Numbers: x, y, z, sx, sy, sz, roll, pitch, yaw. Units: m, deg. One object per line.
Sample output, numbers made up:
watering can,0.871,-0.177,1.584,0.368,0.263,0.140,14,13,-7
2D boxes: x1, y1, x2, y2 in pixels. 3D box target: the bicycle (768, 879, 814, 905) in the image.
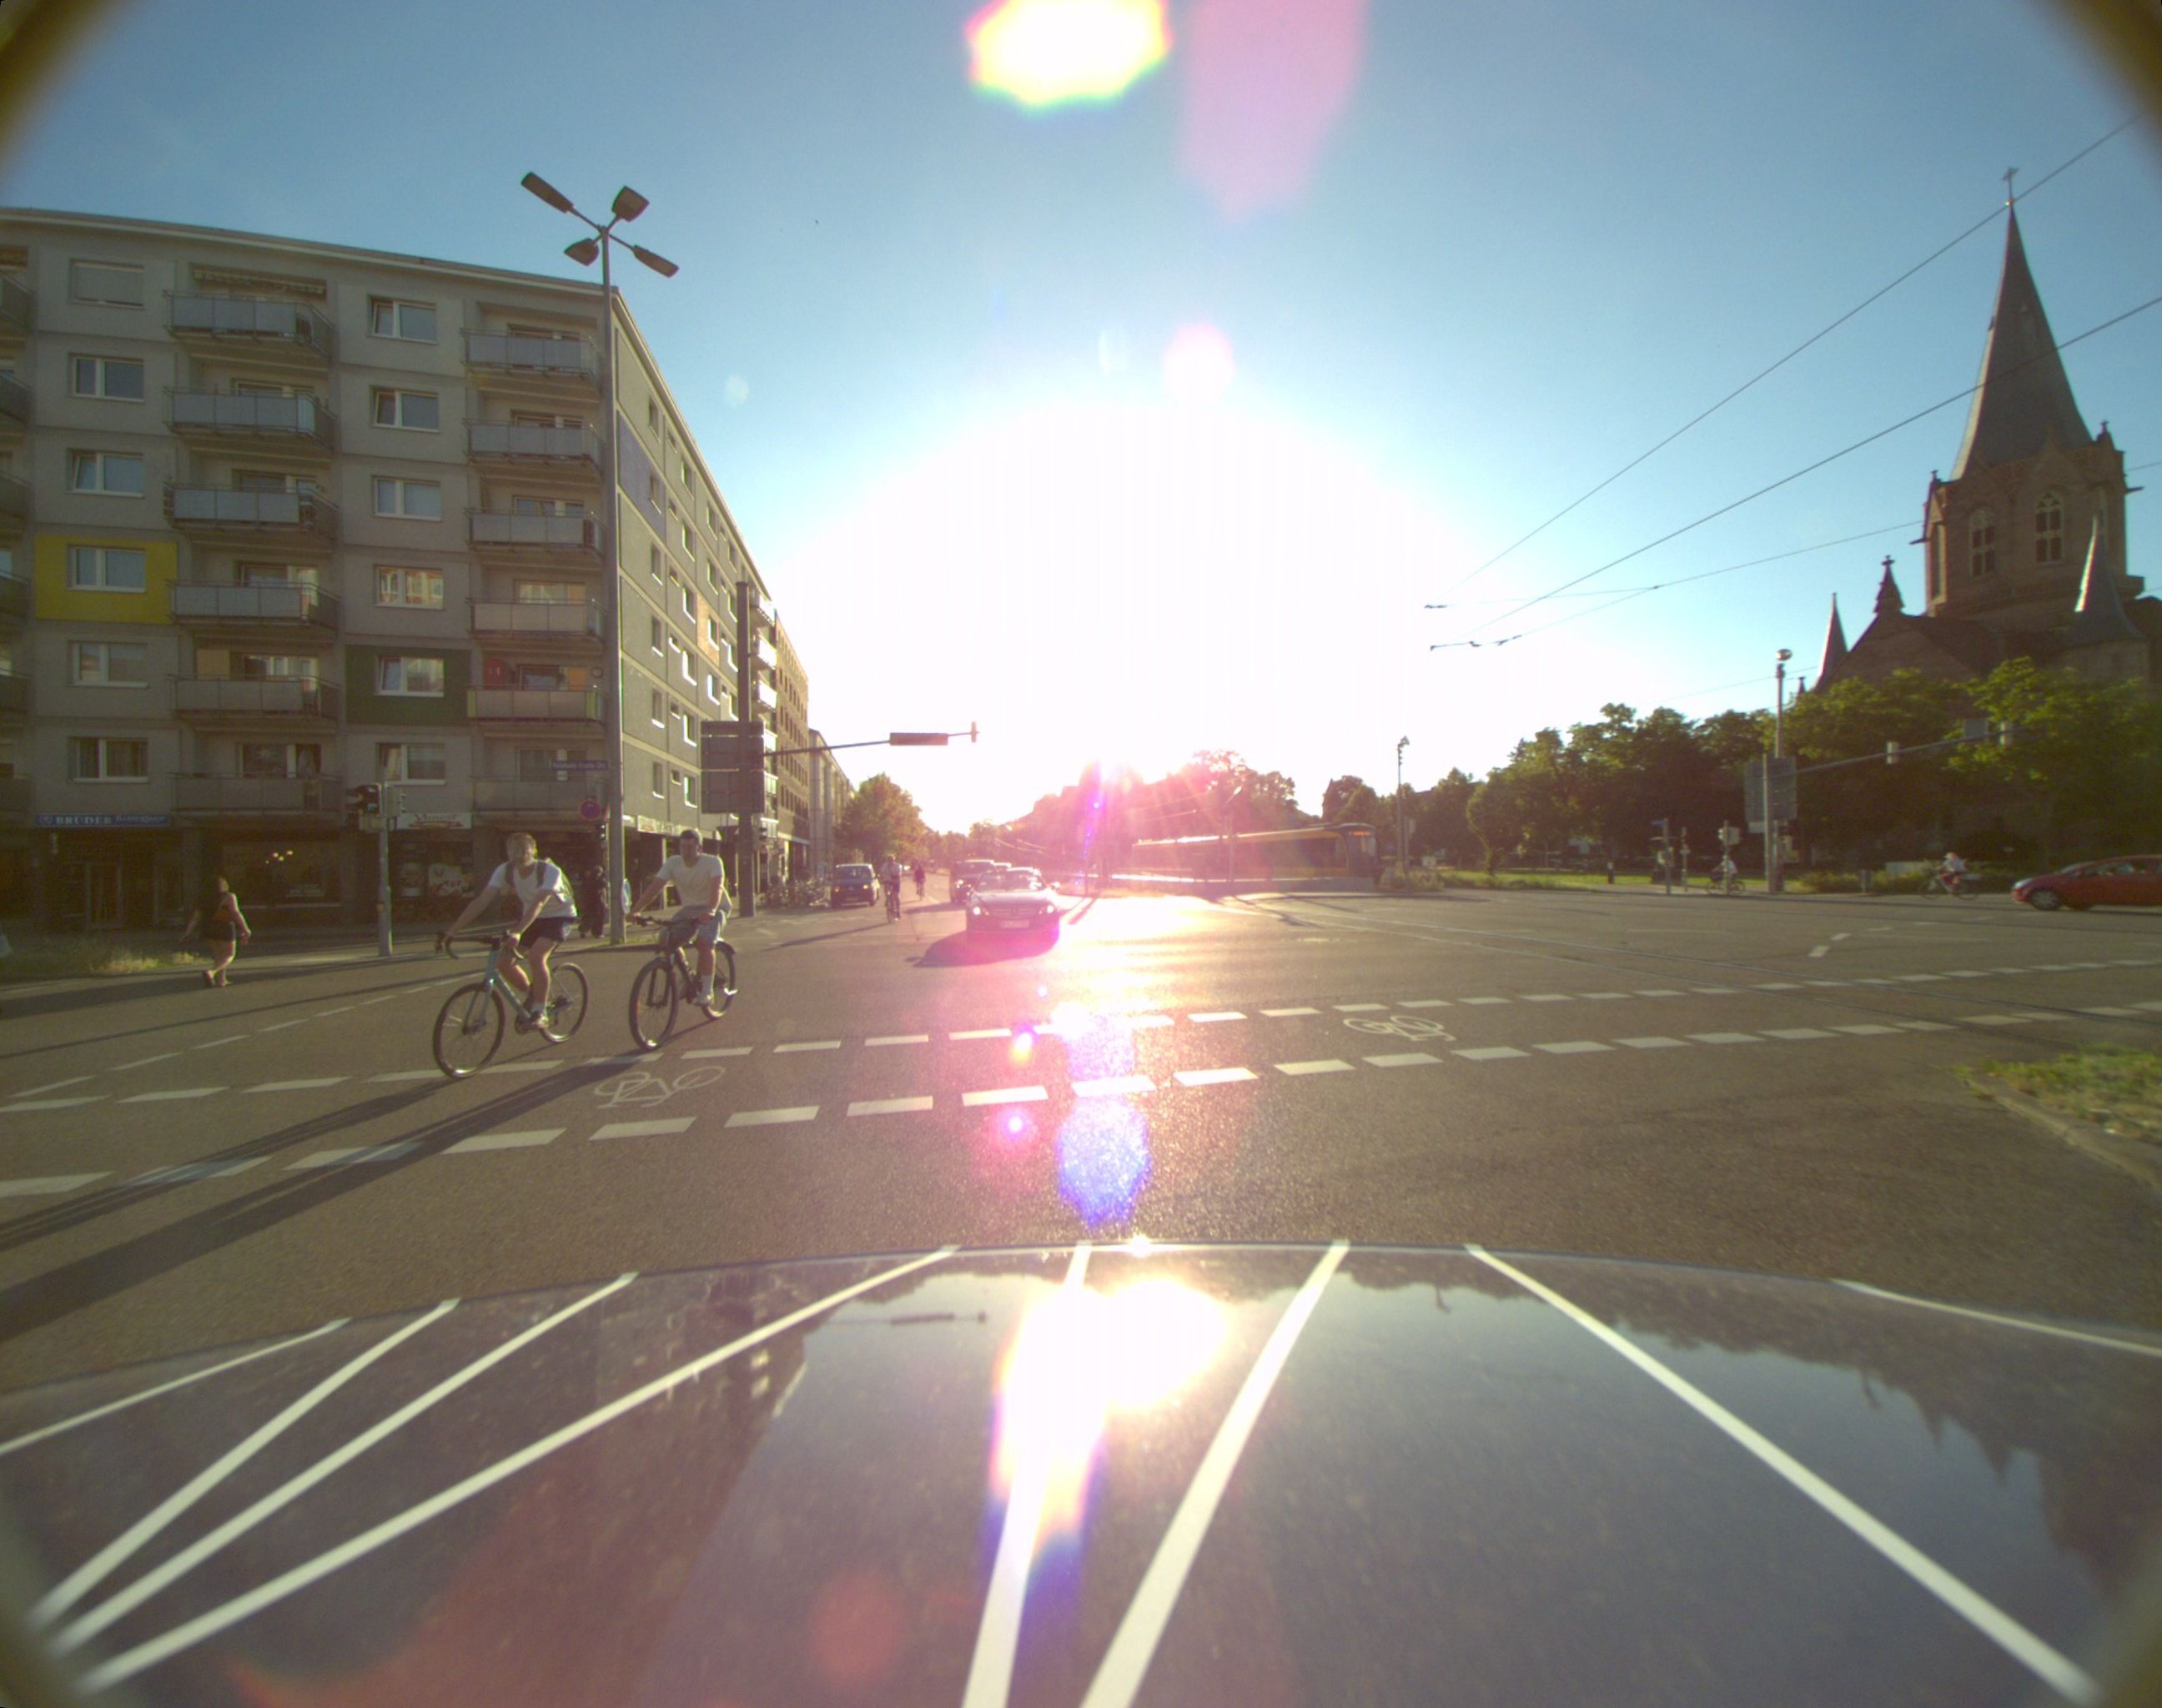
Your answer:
bicycle,-13.017,1.697,34.144,1.875,1.119,0.567,2,0,-17

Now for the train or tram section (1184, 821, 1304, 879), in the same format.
train or tram section,11.023,-0.216,53.627,2.783,3.515,13.236,-1,0,-14

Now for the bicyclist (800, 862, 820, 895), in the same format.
bicyclist,-14.897,1.338,41.787,0.744,1.797,1.384,-1,0,-10

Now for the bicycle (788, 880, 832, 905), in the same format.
bicycle,-12.727,1.817,35.730,1.875,1.119,0.567,2,0,-17

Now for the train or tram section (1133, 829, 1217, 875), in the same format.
train or tram section,7.872,-0.116,66.479,2.783,3.515,13.236,-1,0,-14

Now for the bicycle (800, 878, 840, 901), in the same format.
bicycle,-13.220,1.785,38.558,1.875,1.119,0.567,2,0,-17

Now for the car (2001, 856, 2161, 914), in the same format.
car,27.003,0.766,19.546,1.731,1.406,3.880,-1,0,-18

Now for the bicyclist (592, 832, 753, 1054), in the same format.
bicyclist,-3.563,0.727,6.737,0.828,1.797,1.057,-1,0,-2

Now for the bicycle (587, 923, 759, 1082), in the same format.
bicycle,-3.540,1.228,6.804,0.479,1.022,1.981,-2,0,-2

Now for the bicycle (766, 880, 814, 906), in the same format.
bicycle,-12.635,1.697,33.058,1.875,1.119,0.606,2,-1,-17

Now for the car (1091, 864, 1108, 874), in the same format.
car,2.823,2.329,116.916,1.717,1.531,3.669,-1,0,-12

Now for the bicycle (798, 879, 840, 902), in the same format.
bicycle,-12.903,1.791,37.464,1.875,1.119,0.567,2,0,-17

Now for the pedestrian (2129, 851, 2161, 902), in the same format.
pedestrian,35.567,0.727,24.966,0.738,1.663,1.104,-1,0,-10

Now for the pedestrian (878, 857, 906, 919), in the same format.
pedestrian,-5.157,0.901,20.731,0.640,1.639,0.842,-2,1,-12

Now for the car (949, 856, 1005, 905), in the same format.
car,-4.725,1.099,33.934,1.922,1.978,4.941,-1,0,-14

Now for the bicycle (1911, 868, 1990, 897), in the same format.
bicycle,32.464,1.051,28.399,0.460,1.020,1.928,-2,0,-13

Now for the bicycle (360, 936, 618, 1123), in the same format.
bicycle,-4.492,1.265,5.971,0.577,1.022,1.856,-2,0,-2

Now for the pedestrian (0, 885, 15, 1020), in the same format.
pedestrian,-13.497,1.209,8.988,0.684,1.652,0.746,-1,0,-12

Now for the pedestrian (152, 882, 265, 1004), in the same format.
pedestrian,-12.046,1.196,10.514,0.684,1.580,0.746,-1,0,-8

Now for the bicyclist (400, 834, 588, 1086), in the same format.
bicyclist,-4.545,0.765,5.969,0.676,1.797,0.994,-1,0,-2

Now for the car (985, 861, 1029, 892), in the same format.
car,-4.694,1.352,47.776,1.958,1.702,4.845,-4,0,-14

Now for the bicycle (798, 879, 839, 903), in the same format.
bicycle,-12.740,1.812,36.918,1.875,1.119,0.567,2,0,-17

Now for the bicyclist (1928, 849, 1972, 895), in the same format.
bicyclist,32.442,0.680,28.369,0.575,1.671,0.894,-2,0,-13

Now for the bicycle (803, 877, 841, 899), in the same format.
bicycle,-13.703,1.822,40.199,1.875,1.119,0.567,2,0,-17

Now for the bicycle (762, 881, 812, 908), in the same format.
bicycle,-12.314,1.689,31.868,1.875,1.055,0.606,-1,0,-15

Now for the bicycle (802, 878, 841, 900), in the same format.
bicycle,-13.542,1.838,39.660,1.875,1.119,0.567,2,0,-17

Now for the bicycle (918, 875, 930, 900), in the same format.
bicycle,-8.056,1.706,39.042,0.530,1.152,1.847,-2,0,-10

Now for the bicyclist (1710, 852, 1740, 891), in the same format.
bicyclist,31.200,0.838,36.837,0.575,1.816,0.894,-2,0,-14

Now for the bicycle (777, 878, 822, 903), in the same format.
bicycle,-12.947,1.695,34.963,1.875,1.119,0.567,2,0,-17

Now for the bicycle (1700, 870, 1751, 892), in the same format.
bicycle,31.237,1.308,36.863,0.525,1.020,1.928,-2,0,-13

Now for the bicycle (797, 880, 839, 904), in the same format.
bicycle,-12.580,1.813,36.370,1.875,1.119,0.567,2,0,-17

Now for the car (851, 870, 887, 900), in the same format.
car,-12.014,1.732,43.190,1.689,1.471,3.535,-3,0,-13

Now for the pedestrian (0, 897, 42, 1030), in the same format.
pedestrian,-12.630,1.255,8.601,0.684,1.491,0.746,-1,0,-12

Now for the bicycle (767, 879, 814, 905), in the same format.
bicycle,-12.848,1.679,33.607,1.875,1.119,0.567,2,0,-17

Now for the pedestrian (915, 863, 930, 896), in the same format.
pedestrian,-8.104,1.296,38.957,0.679,1.639,0.901,-2,1,-11

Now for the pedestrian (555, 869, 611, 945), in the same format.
pedestrian,-11.577,1.208,17.684,0.664,1.694,1.071,-1,0,-8

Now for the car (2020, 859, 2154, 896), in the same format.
car,42.087,0.949,31.818,4.001,1.412,1.900,-1,0,-13

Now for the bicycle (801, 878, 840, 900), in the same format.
bicycle,-13.384,1.810,39.109,1.875,1.119,0.567,2,0,-17

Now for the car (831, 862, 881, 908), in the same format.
car,-10.377,1.352,35.331,1.944,1.922,4.826,-1,0,-13

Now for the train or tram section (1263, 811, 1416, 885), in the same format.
train or tram section,13.820,-0.273,42.033,2.783,3.515,10.558,-1,0,-14

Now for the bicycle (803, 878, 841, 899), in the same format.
bicycle,-13.864,1.848,40.751,1.875,1.119,0.567,2,0,-17

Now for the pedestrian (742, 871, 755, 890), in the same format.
pedestrian,-21.297,1.700,48.622,0.607,1.145,0.727,-1,0,-14

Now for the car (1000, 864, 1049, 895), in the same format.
car,-3.039,1.298,40.119,1.844,1.392,4.579,-4,0,-13

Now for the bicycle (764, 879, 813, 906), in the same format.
bicycle,-12.489,1.645,32.489,1.875,1.055,0.606,-1,0,-15

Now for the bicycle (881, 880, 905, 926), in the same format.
bicycle,-5.151,1.315,20.866,0.530,1.152,1.847,-2,0,-12

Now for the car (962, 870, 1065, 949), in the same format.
car,-1.524,1.041,15.754,1.777,1.300,4.237,-1,0,-9

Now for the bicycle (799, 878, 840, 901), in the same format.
bicycle,-13.062,1.776,38.013,1.875,1.119,0.567,2,0,-17
